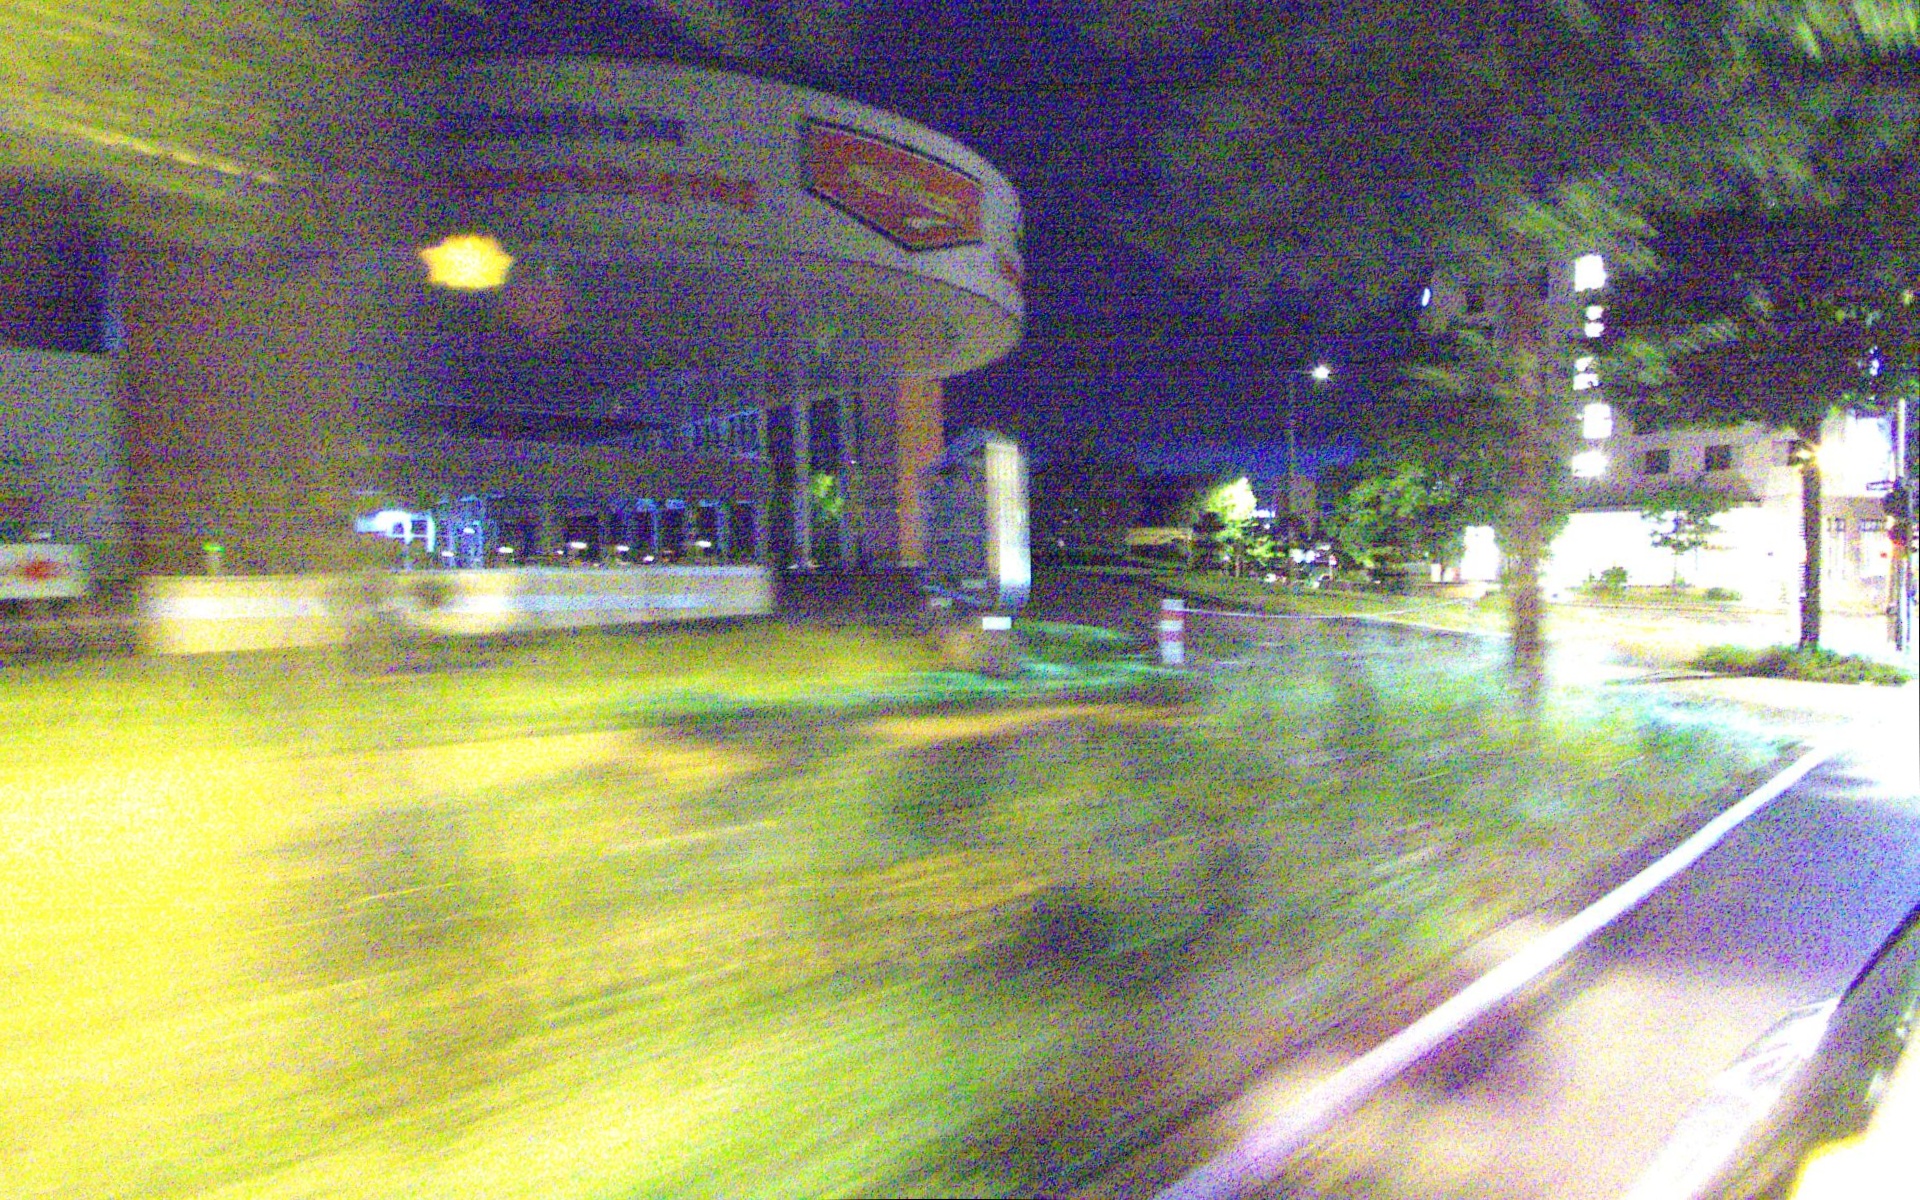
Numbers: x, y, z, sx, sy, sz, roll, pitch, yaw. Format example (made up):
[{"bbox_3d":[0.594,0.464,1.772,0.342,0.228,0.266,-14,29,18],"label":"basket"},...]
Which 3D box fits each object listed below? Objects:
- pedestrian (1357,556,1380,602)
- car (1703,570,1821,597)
[{"bbox_3d":[17.368,-0.895,43.015,0.719,1.900,0.663,-1,1,-42],"label":"pedestrian"},{"bbox_3d":[36.427,-0.758,46.043,3.935,1.047,1.480,2,1,10],"label":"car"}]
